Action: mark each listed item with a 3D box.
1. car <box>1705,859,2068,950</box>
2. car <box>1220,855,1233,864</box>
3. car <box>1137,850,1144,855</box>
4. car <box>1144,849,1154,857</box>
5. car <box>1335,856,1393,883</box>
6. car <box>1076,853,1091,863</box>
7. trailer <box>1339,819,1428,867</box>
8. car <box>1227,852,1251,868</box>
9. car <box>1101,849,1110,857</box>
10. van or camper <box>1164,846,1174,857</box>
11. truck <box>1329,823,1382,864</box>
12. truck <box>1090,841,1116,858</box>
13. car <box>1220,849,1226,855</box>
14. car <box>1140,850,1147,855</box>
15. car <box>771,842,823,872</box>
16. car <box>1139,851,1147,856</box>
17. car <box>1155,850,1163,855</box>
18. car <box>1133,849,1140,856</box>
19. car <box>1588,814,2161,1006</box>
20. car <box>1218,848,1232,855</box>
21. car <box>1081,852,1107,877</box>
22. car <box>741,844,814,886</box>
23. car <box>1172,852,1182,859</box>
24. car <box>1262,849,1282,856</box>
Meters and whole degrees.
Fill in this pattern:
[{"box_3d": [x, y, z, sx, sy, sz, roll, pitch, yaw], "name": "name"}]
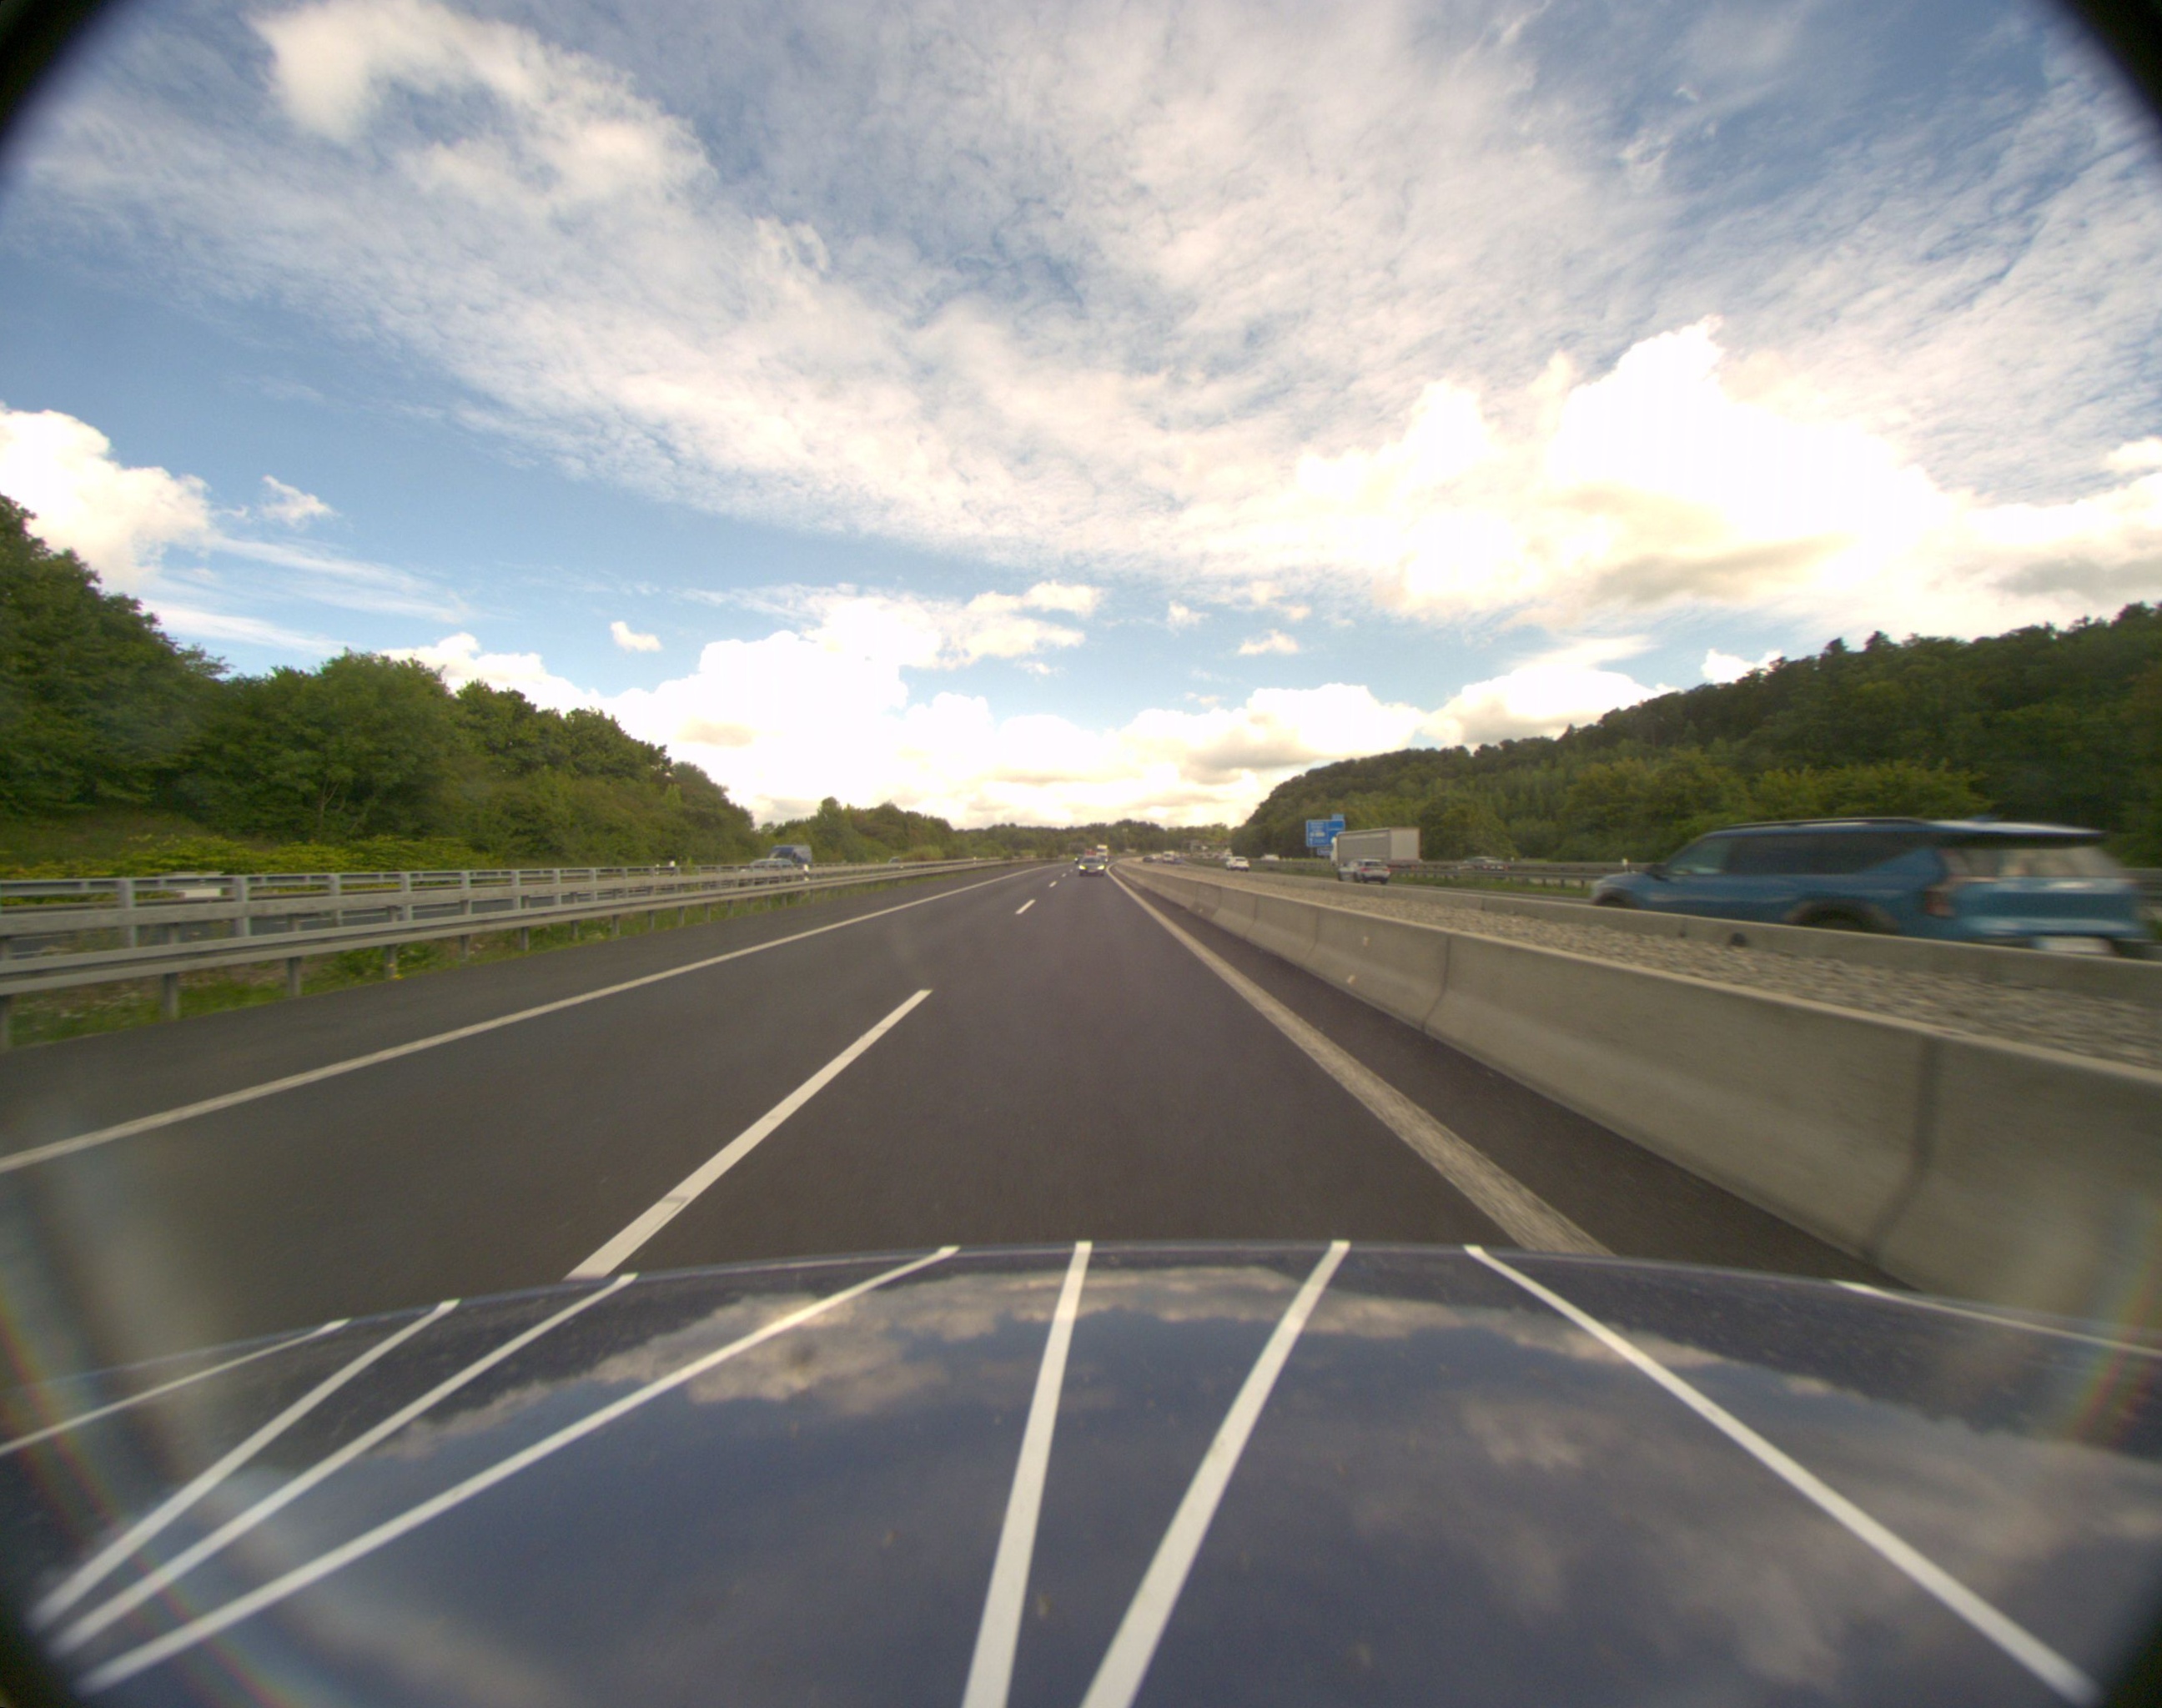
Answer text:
[{"box_3d": [16.138, 0.893, 15.825, 1.947, 1.486, 5.306, 0, 1, 1], "name": "car"}, {"box_3d": [29.428, 1.091, 153.780, 1.998, 1.827, 4.001, 0, 1, 4], "name": "car"}, {"box_3d": [15.072, -0.365, 191.886, 1.868, 1.413, 4.426, 0, 1, 4], "name": "car"}, {"box_3d": [13.823, -0.136, 155.614, 1.754, 1.621, 4.841, 0, 1, 2], "name": "car"}, {"box_3d": [17.017, 0.879, 45.957, 1.649, 1.486, 4.996, 0, 1, 1], "name": "car"}, {"box_3d": [0.422, 0.672, 128.943, 1.997, 1.591, 4.002, 0, 1, 6], "name": "car"}, {"box_3d": [27.927, -0.970, 71.178, 3.159, 4.070, 13.385, 0, 1, 1], "name": "trailer"}, {"box_3d": [17.046, 0.623, 82.305, 1.802, 1.621, 4.754, 0, 1, 2], "name": "car"}, {"box_3d": [5.380, -0.167, 163.964, 1.753, 1.621, 4.842, 0, 1, 4], "name": "car"}, {"box_3d": [19.598, -0.525, 169.425, 2.105, 2.521, 5.423, 0, 1, 4], "name": "van or camper"}, {"box_3d": [28.000, -1.071, 77.830, 3.159, 4.042, 6.286, 0, 1, 1], "name": "truck"}, {"box_3d": [5.962, -1.288, 200.264, 4.944, 4.306, 14.638, 0, 1, 9], "name": "truck"}, {"box_3d": [48.269, -0.757, 257.824, 1.997, 2.002, 4.002, 0, 1, 9], "name": "car"}, {"box_3d": [18.215, -0.328, 220.169, 1.867, 1.413, 4.427, 0, 1, 7], "name": "car"}, {"box_3d": [-21.481, 0.210, 57.713, 1.999, 2.173, 5.127, -1, 1, 0], "name": "car"}, {"box_3d": [17.009, -0.219, 208.116, 1.868, 1.413, 4.425, 0, 1, 2], "name": "car"}, {"box_3d": [23.537, -0.499, 229.706, 1.754, 1.444, 3.940, 0, 1, 14], "name": "car"}, {"box_3d": [12.896, -0.311, 176.585, 1.753, 1.621, 4.841, 0, 1, 4], "name": "car"}, {"box_3d": [8.136, 0.410, 8.339, 1.852, 1.486, 4.972, 0, 1, 1], "name": "car"}, {"box_3d": [44.475, -0.724, 235.161, 2.002, 2.002, 5.147, 0, 1, -20], "name": "car"}, {"box_3d": [0.972, 0.710, 54.687, 1.724, 1.722, 3.939, -1, 1, 2], "name": "car"}, {"box_3d": [-15.273, 0.523, 38.484, 1.998, 2.002, 4.000, 0, 1, 1], "name": "car"}, {"box_3d": [19.345, 0.278, 153.009, 1.754, 1.413, 4.209, 0, 1, 3], "name": "car"}, {"box_3d": [51.407, -0.385, 204.263, 2.178, 1.912, 5.144, -1, 1, -29], "name": "car"}]
